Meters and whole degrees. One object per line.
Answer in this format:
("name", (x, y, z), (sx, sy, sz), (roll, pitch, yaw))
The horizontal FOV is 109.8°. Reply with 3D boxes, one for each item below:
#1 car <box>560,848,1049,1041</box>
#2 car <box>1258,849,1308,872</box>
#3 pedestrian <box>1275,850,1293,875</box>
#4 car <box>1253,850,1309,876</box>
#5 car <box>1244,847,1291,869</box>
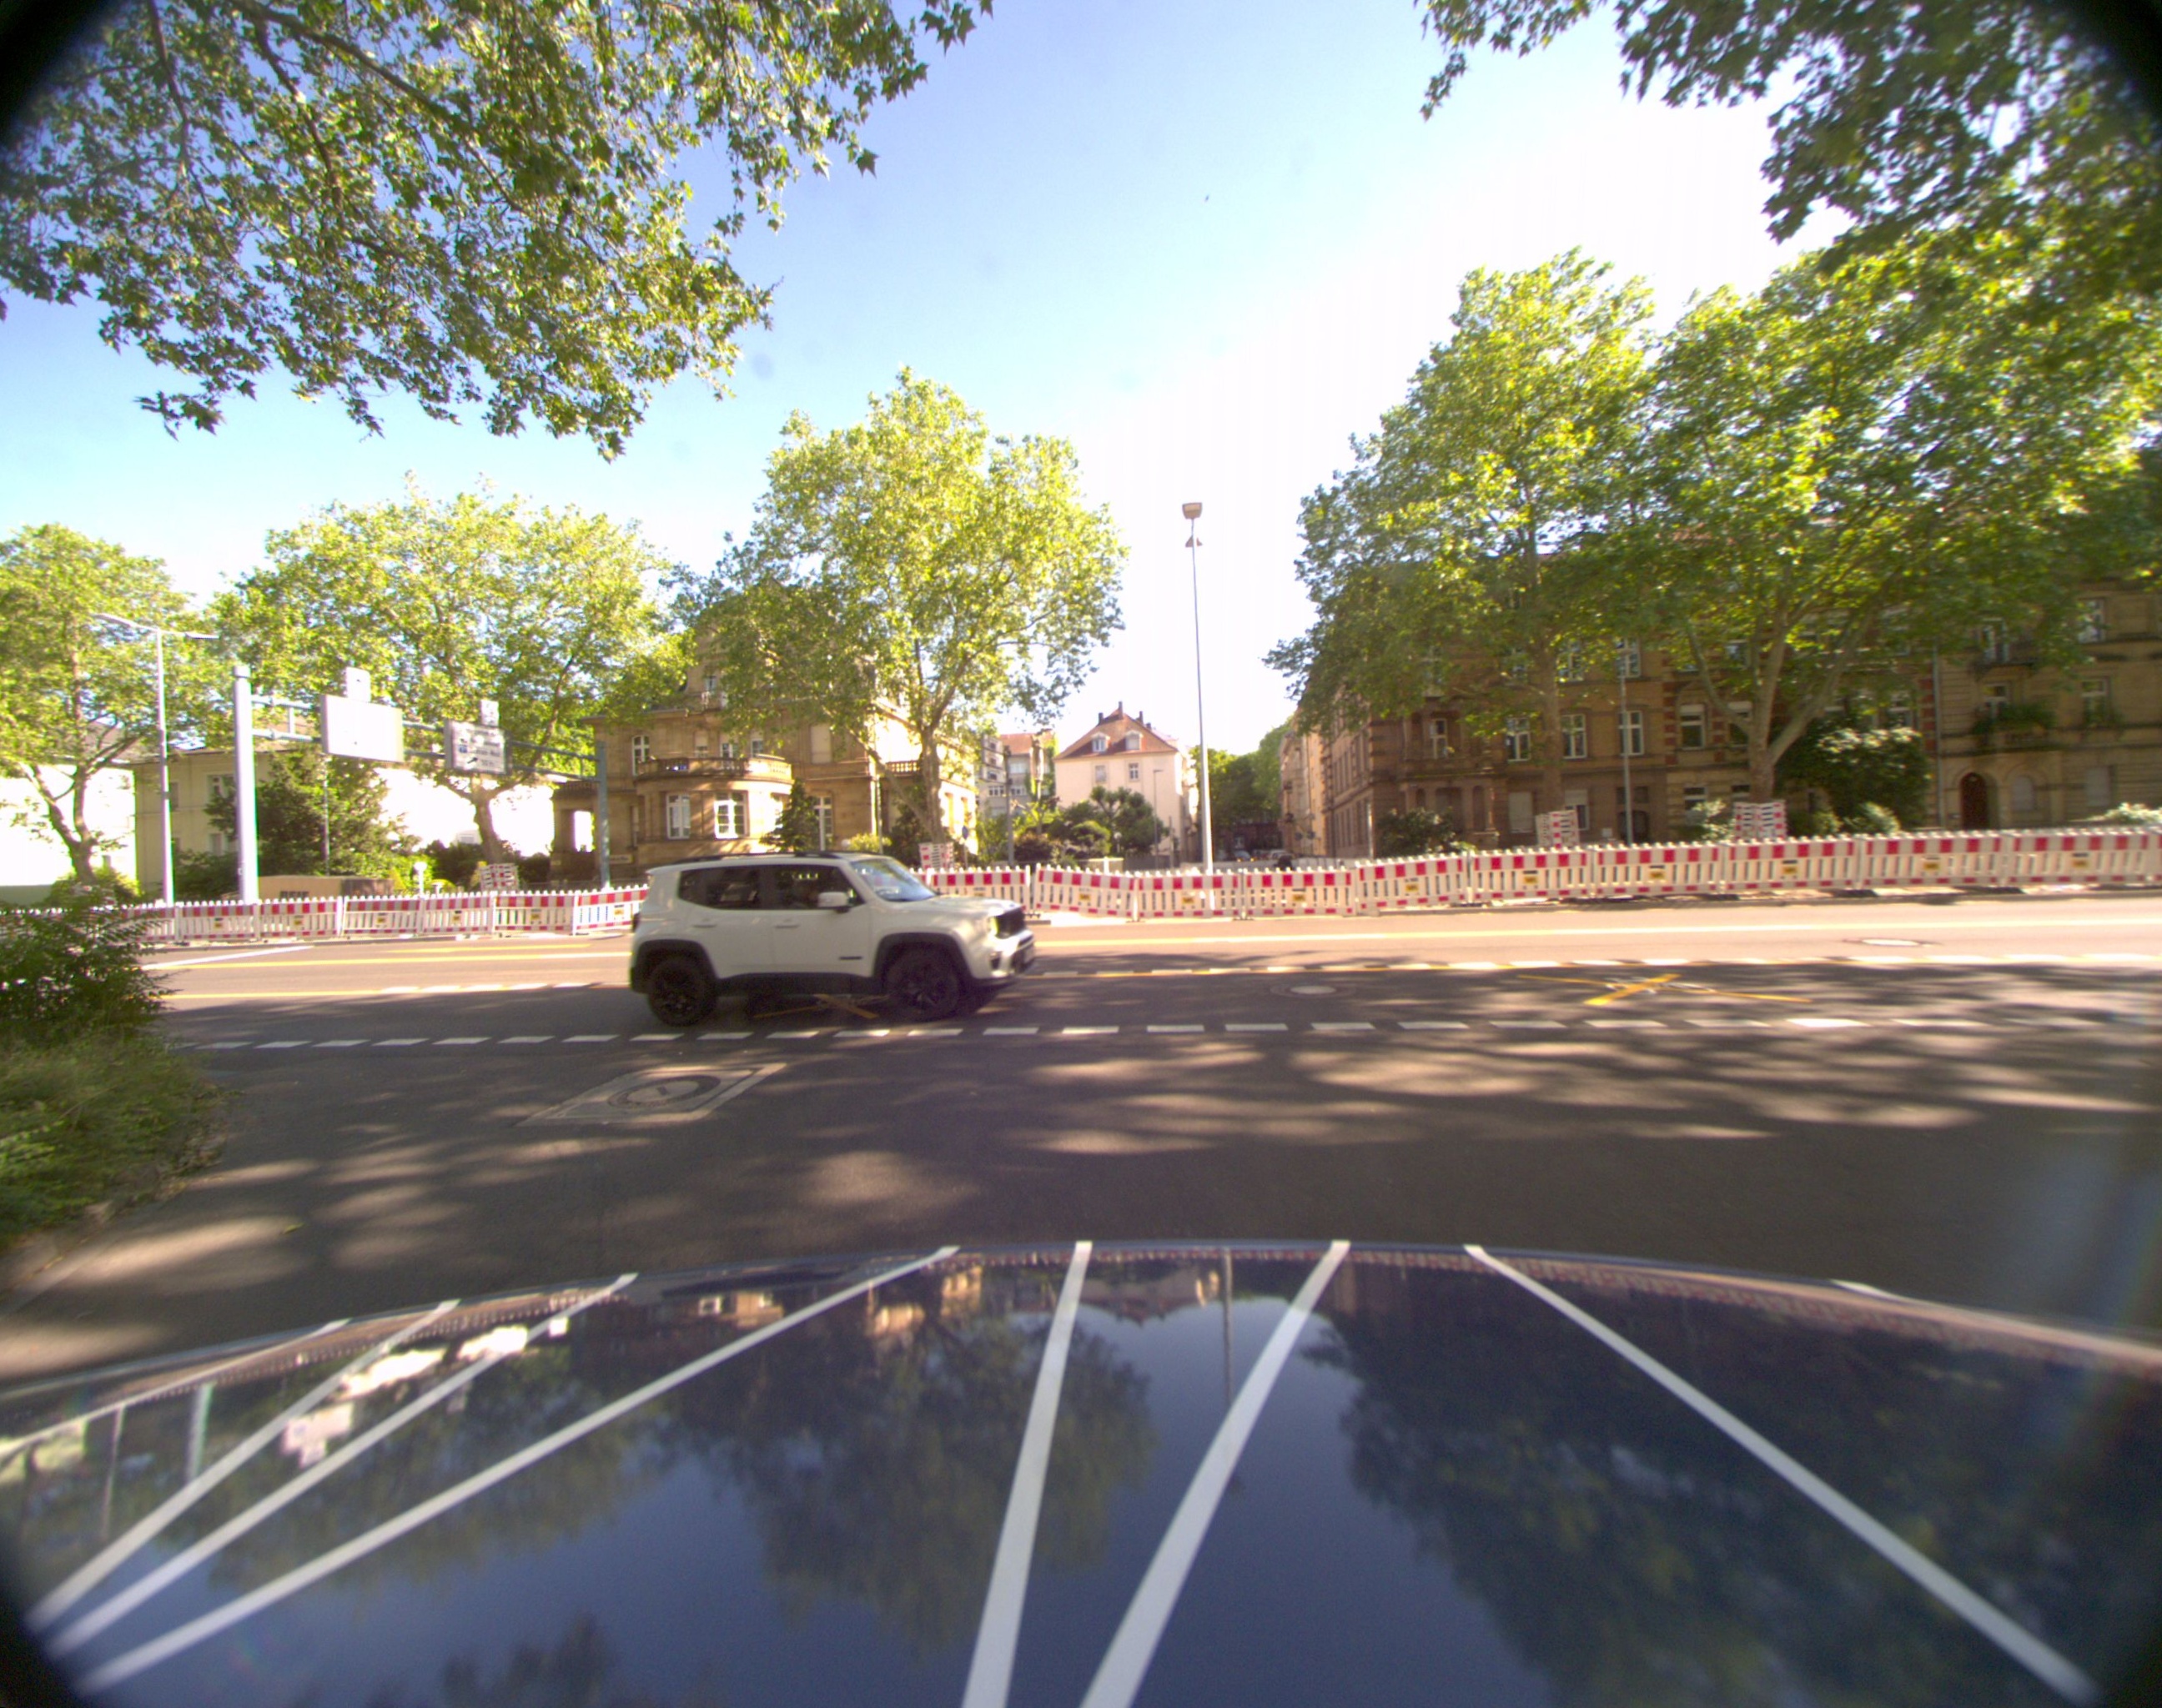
("car", (-2.768, 0.896, 8.165), (4.500, 1.716, 1.870), (-2, 1, 8))
("car", (16.105, 0.539, 60.640), (3.674, 1.640, 1.602), (-2, 0, 11))
("pedestrian", (13.390, 0.560, 50.197), (0.761, 1.650, 0.827), (-2, 0, -16))
("car", (14.434, 0.652, 55.063), (3.797, 1.726, 1.624), (-2, 0, 11))
("car", (16.083, 0.357, 65.527), (3.797, 1.726, 1.624), (-2, 0, 11))
